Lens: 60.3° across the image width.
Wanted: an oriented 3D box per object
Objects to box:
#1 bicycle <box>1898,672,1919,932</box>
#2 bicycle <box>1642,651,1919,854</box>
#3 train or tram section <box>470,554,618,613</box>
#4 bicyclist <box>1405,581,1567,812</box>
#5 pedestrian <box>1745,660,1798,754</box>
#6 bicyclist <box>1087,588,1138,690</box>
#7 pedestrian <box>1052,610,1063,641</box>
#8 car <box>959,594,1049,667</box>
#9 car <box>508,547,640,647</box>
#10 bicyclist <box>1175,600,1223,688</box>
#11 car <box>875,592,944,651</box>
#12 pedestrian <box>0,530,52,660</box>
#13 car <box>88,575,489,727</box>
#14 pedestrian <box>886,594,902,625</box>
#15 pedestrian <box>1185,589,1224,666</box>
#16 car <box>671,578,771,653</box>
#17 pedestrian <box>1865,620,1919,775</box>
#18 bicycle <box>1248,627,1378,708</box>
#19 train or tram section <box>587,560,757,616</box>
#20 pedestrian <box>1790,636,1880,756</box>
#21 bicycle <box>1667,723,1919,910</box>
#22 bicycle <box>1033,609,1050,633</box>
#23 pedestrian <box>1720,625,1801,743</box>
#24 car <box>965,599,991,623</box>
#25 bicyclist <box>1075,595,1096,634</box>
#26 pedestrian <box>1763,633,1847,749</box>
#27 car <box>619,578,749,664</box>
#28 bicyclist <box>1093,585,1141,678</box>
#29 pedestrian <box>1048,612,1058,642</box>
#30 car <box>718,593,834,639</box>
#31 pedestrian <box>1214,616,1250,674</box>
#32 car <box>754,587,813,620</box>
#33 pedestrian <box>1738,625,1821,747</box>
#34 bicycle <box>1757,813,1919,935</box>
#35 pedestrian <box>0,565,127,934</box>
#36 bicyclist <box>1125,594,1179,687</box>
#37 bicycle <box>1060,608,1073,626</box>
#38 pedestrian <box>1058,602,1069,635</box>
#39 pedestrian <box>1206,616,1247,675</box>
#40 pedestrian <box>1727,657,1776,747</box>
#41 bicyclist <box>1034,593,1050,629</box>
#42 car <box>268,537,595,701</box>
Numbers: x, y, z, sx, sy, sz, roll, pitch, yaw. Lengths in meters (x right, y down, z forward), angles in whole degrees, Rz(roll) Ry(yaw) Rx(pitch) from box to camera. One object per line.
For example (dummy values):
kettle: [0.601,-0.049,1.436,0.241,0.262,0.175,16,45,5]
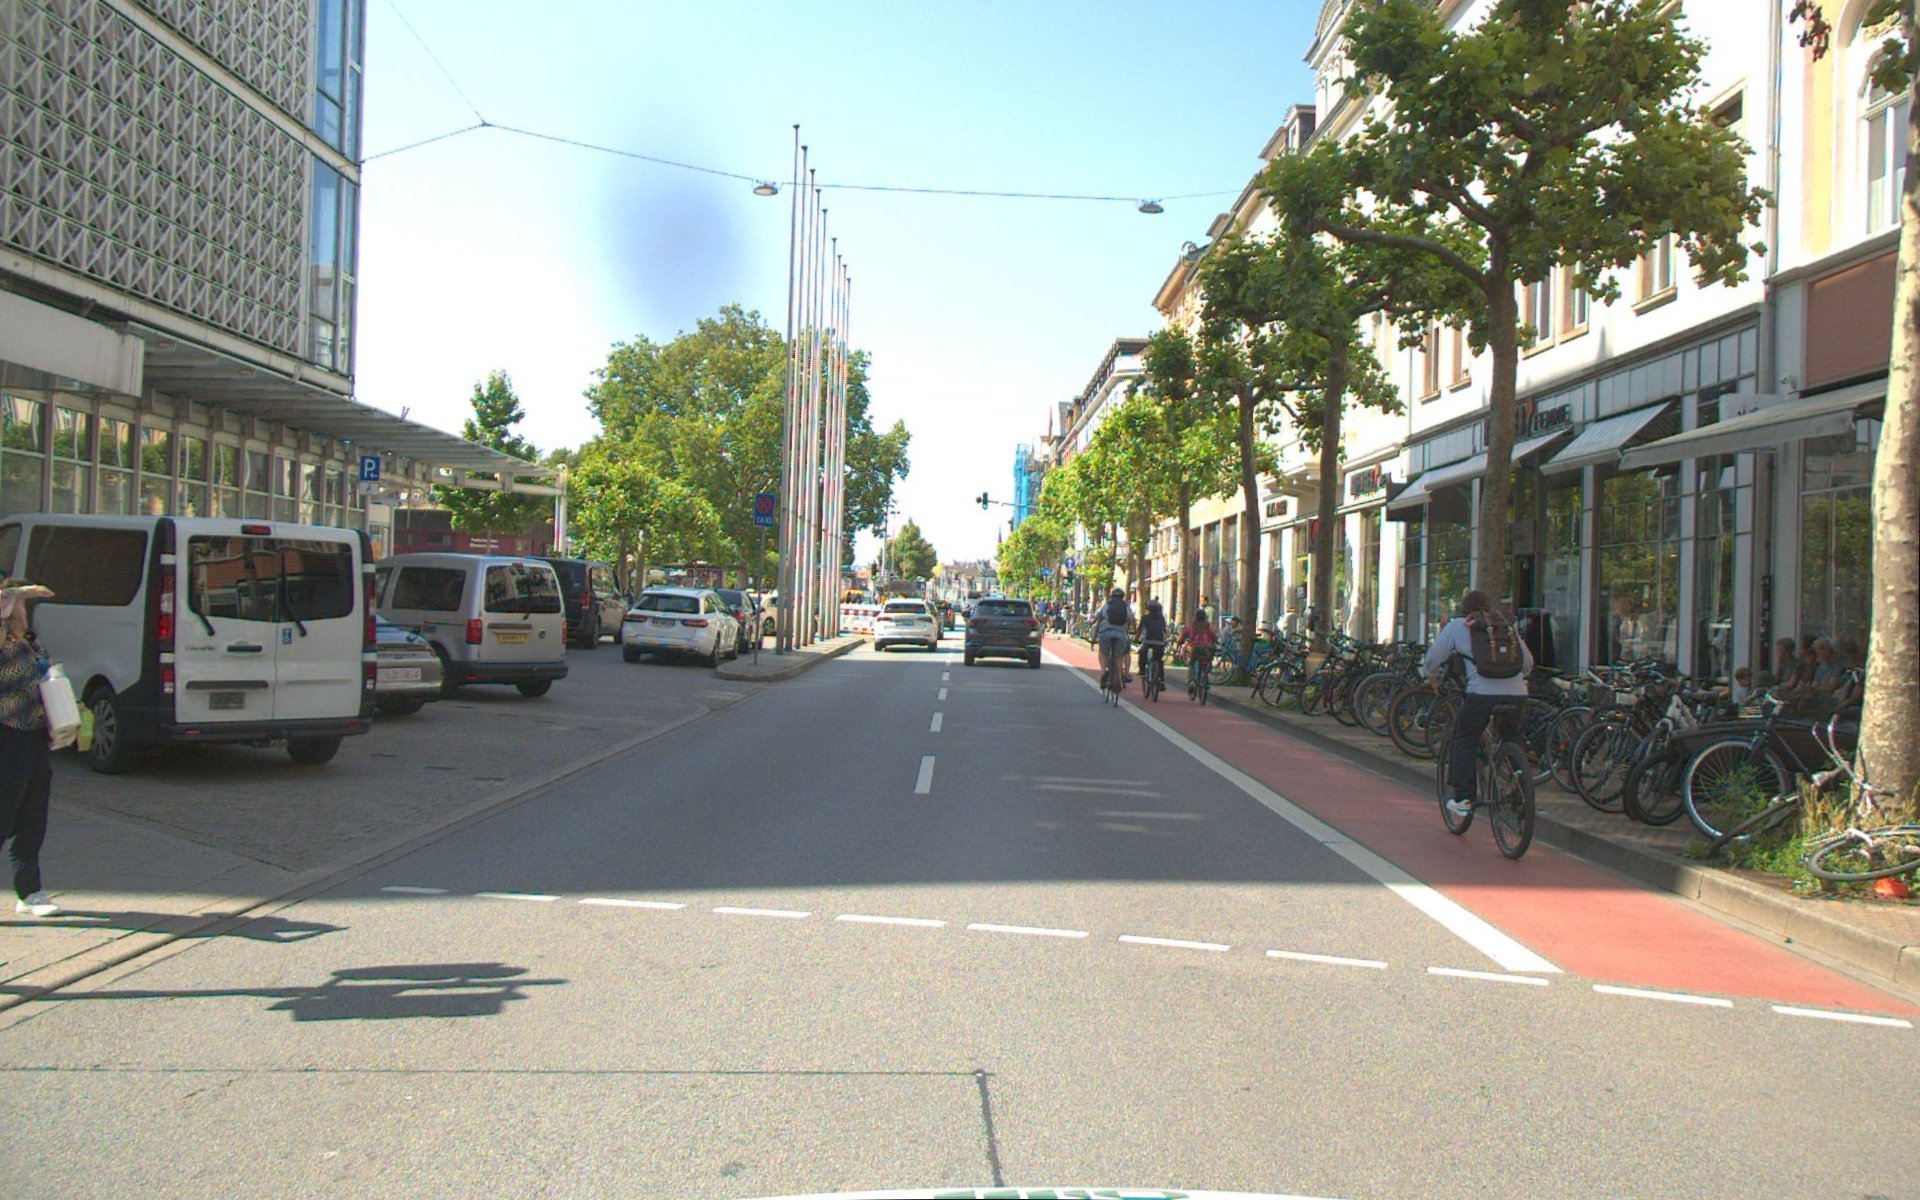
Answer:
bicycle: [5.194,0.953,7.153,1.822,1.209,0.713,6,3,38]
bicycle: [5.427,0.971,10.686,1.801,1.146,0.346,4,1,15]
train or tram section: [-28.757,-1.083,115.047,2.568,3.741,10.963,2,0,35]
bicyclist: [3.557,0.628,11.251,0.684,1.471,0.960,3,0,-3]
pedestrian: [8.904,1.170,18.156,0.357,0.985,0.437,2,0,1]
bicyclist: [2.322,0.586,25.288,0.617,1.507,1.198,2,-1,-1]
pedestrian: [5.991,1.552,101.782,0.597,1.855,0.677,2,-1,-2]
car: [0.974,0.667,38.567,1.808,1.586,3.998,1,0,-2]
car: [-8.585,-0.067,37.191,1.794,2.049,4.685,2,0,0]
bicyclist: [3.918,0.713,27.147,0.588,1.381,0.720,3,1,-3]
car: [-1.412,0.587,47.364,1.808,1.587,4.000,1,0,0]
pedestrian: [-11.778,-0.065,20.519,0.665,1.586,0.640,1,0,-5]
car: [-7.489,0.521,18.364,4.207,1.309,1.966,4,0,31]
pedestrian: [-3.575,0.512,89.798,0.619,1.623,0.686,1,-1,21]
pedestrian: [5.710,0.639,38.641,0.626,1.718,0.843,4,0,-3]
car: [-5.638,0.347,39.527,1.725,1.628,4.709,2,0,-1]
pedestrian: [9.497,0.926,15.861,1.208,1.447,0.789,1,-1,-3]
bicycle: [5.314,1.015,24.974,1.802,1.112,0.564,3,-1,0]
train or tram section: [-21.569,-0.784,125.514,2.568,3.741,15.494,2,0,34]
pedestrian: [9.534,1.035,18.040,0.626,1.275,0.608,0,-1,-3]
bicycle: [5.350,1.335,9.883,1.814,0.401,1.024,10,-36,4]
bicycle: [3.570,0.903,72.345,0.634,1.015,2.030,1,0,0]
pedestrian: [9.571,0.999,19.780,0.667,1.356,0.531,2,0,-3]
car: [1.328,0.820,125.699,1.807,1.697,3.999,3,0,-1]
bicyclist: [5.972,0.693,78.663,0.568,1.829,0.847,0,0,-34]
pedestrian: [9.520,1.015,18.639,0.667,1.275,0.531,0,0,-3]
car: [-5.536,0.376,33.730,1.762,1.549,4.738,3,0,0]
bicyclist: [2.872,0.576,30.350,0.758,1.664,0.851,1,0,0]
pedestrian: [4.917,1.432,87.429,0.512,1.548,0.642,0,-1,3]
car: [-6.674,0.563,60.494,1.855,1.568,4.856,3,1,27]
pedestrian: [5.971,0.985,36.290,0.626,1.254,0.596,3,-1,-3]
car: [-11.382,0.266,107.069,1.821,1.989,4.761,2,-1,21]
pedestrian: [9.493,0.988,19.183,0.667,1.361,0.531,1,0,-3]
bicycle: [5.575,1.483,9.082,1.123,0.441,1.842,-10,-4,-26]
pedestrian: [-4.257,0.646,7.492,0.628,1.586,0.679,3,0,-12]
bicyclist: [3.145,0.650,27.150,0.684,1.466,0.790,3,-1,-3]
bicycle: [6.793,1.070,105.183,0.392,1.133,1.425,1,1,21]
pedestrian: [5.313,0.957,85.070,0.537,1.659,0.589,0,-1,3]
pedestrian: [5.941,1.010,36.921,0.771,1.265,0.576,3,-1,-3]
pedestrian: [9.004,1.160,18.822,0.334,0.985,0.437,2,0,1]
bicyclist: [3.577,0.478,72.256,0.634,1.578,0.817,2,0,0]
car: [-7.145,0.190,22.222,4.359,1.943,2.001,2,1,37]
